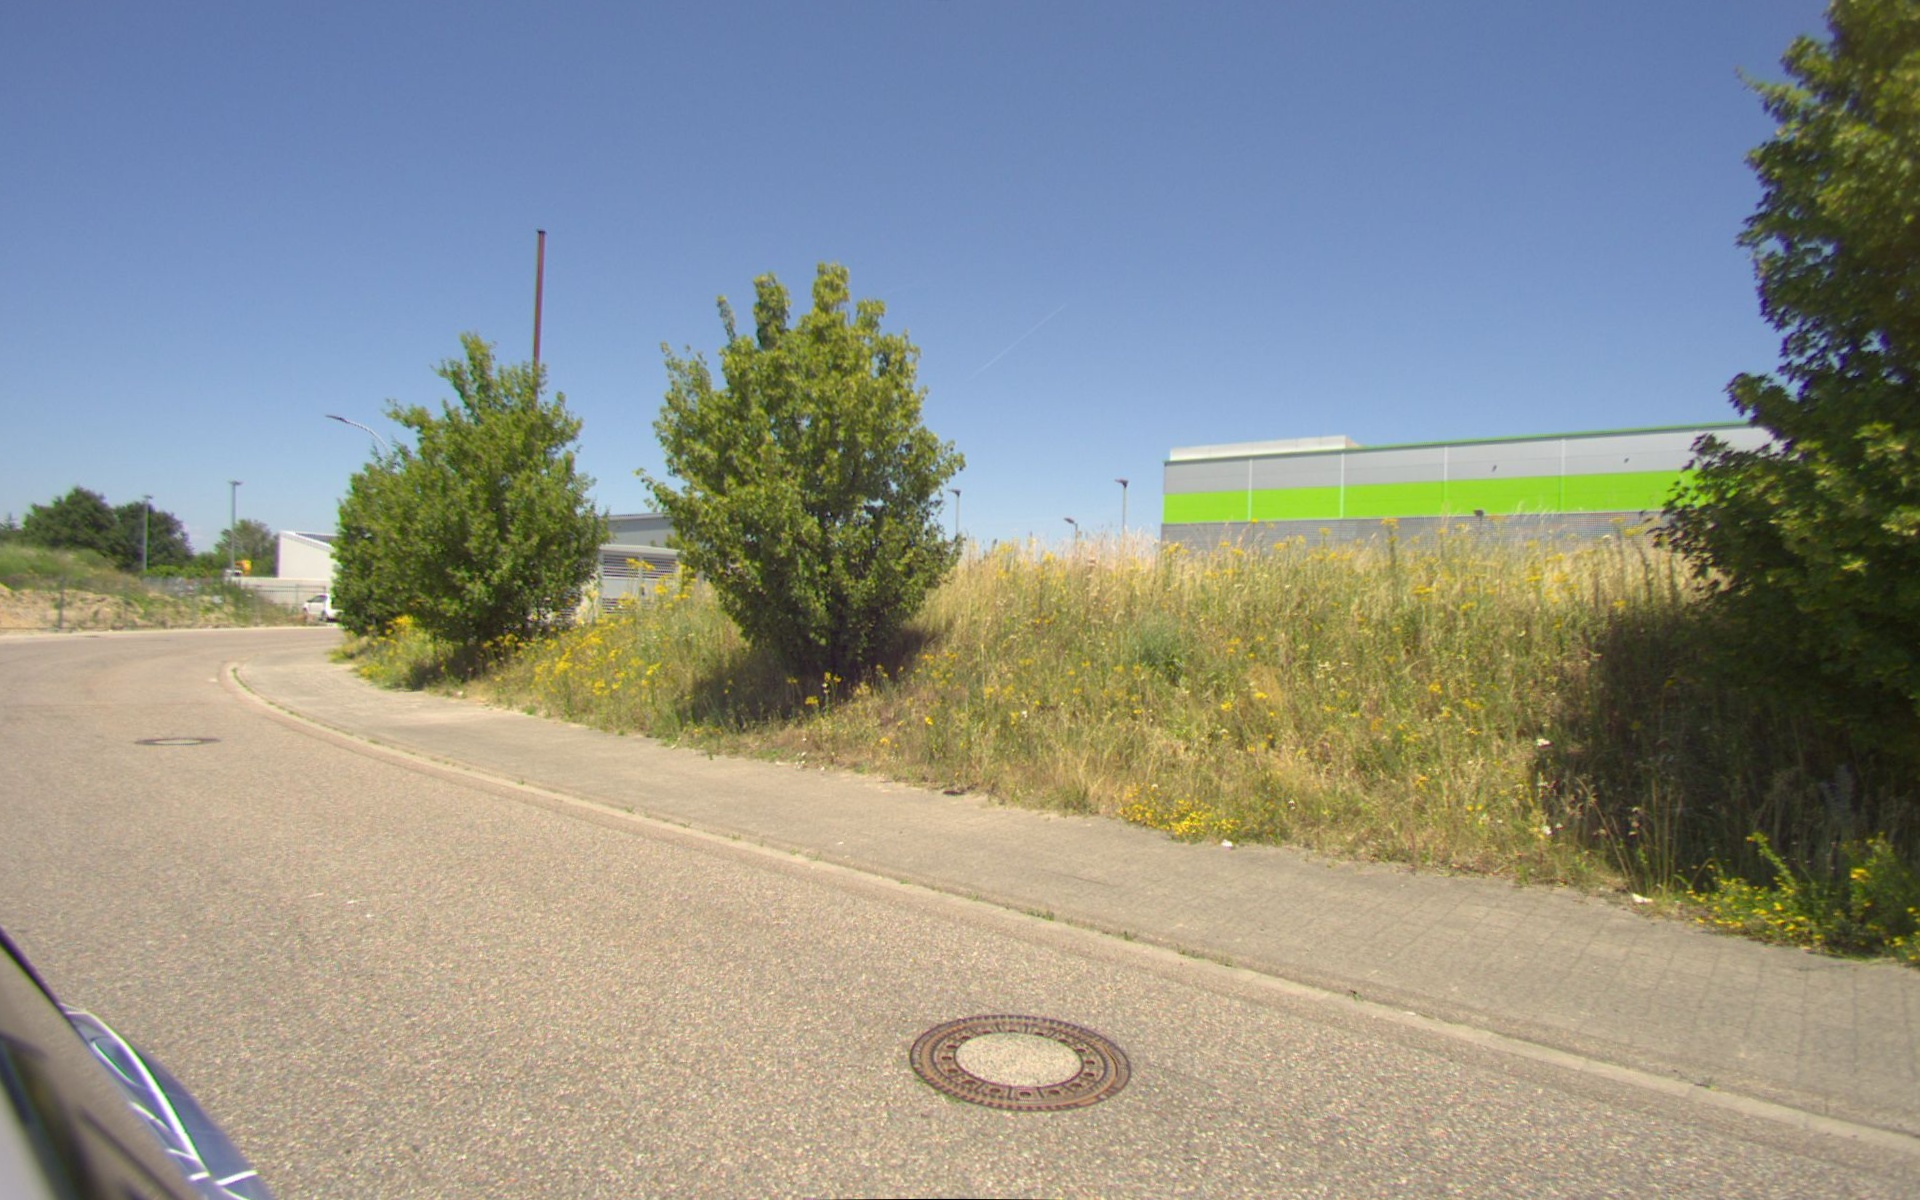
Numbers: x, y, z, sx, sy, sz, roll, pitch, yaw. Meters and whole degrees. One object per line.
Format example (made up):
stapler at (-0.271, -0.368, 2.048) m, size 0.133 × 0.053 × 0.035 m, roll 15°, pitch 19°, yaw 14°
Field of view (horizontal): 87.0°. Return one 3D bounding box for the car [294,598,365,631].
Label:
car at (-33.875, 0.770, 54.325) m, size 4.017 × 1.473 × 1.869 m, roll 4°, pitch 1°, yaw 37°
